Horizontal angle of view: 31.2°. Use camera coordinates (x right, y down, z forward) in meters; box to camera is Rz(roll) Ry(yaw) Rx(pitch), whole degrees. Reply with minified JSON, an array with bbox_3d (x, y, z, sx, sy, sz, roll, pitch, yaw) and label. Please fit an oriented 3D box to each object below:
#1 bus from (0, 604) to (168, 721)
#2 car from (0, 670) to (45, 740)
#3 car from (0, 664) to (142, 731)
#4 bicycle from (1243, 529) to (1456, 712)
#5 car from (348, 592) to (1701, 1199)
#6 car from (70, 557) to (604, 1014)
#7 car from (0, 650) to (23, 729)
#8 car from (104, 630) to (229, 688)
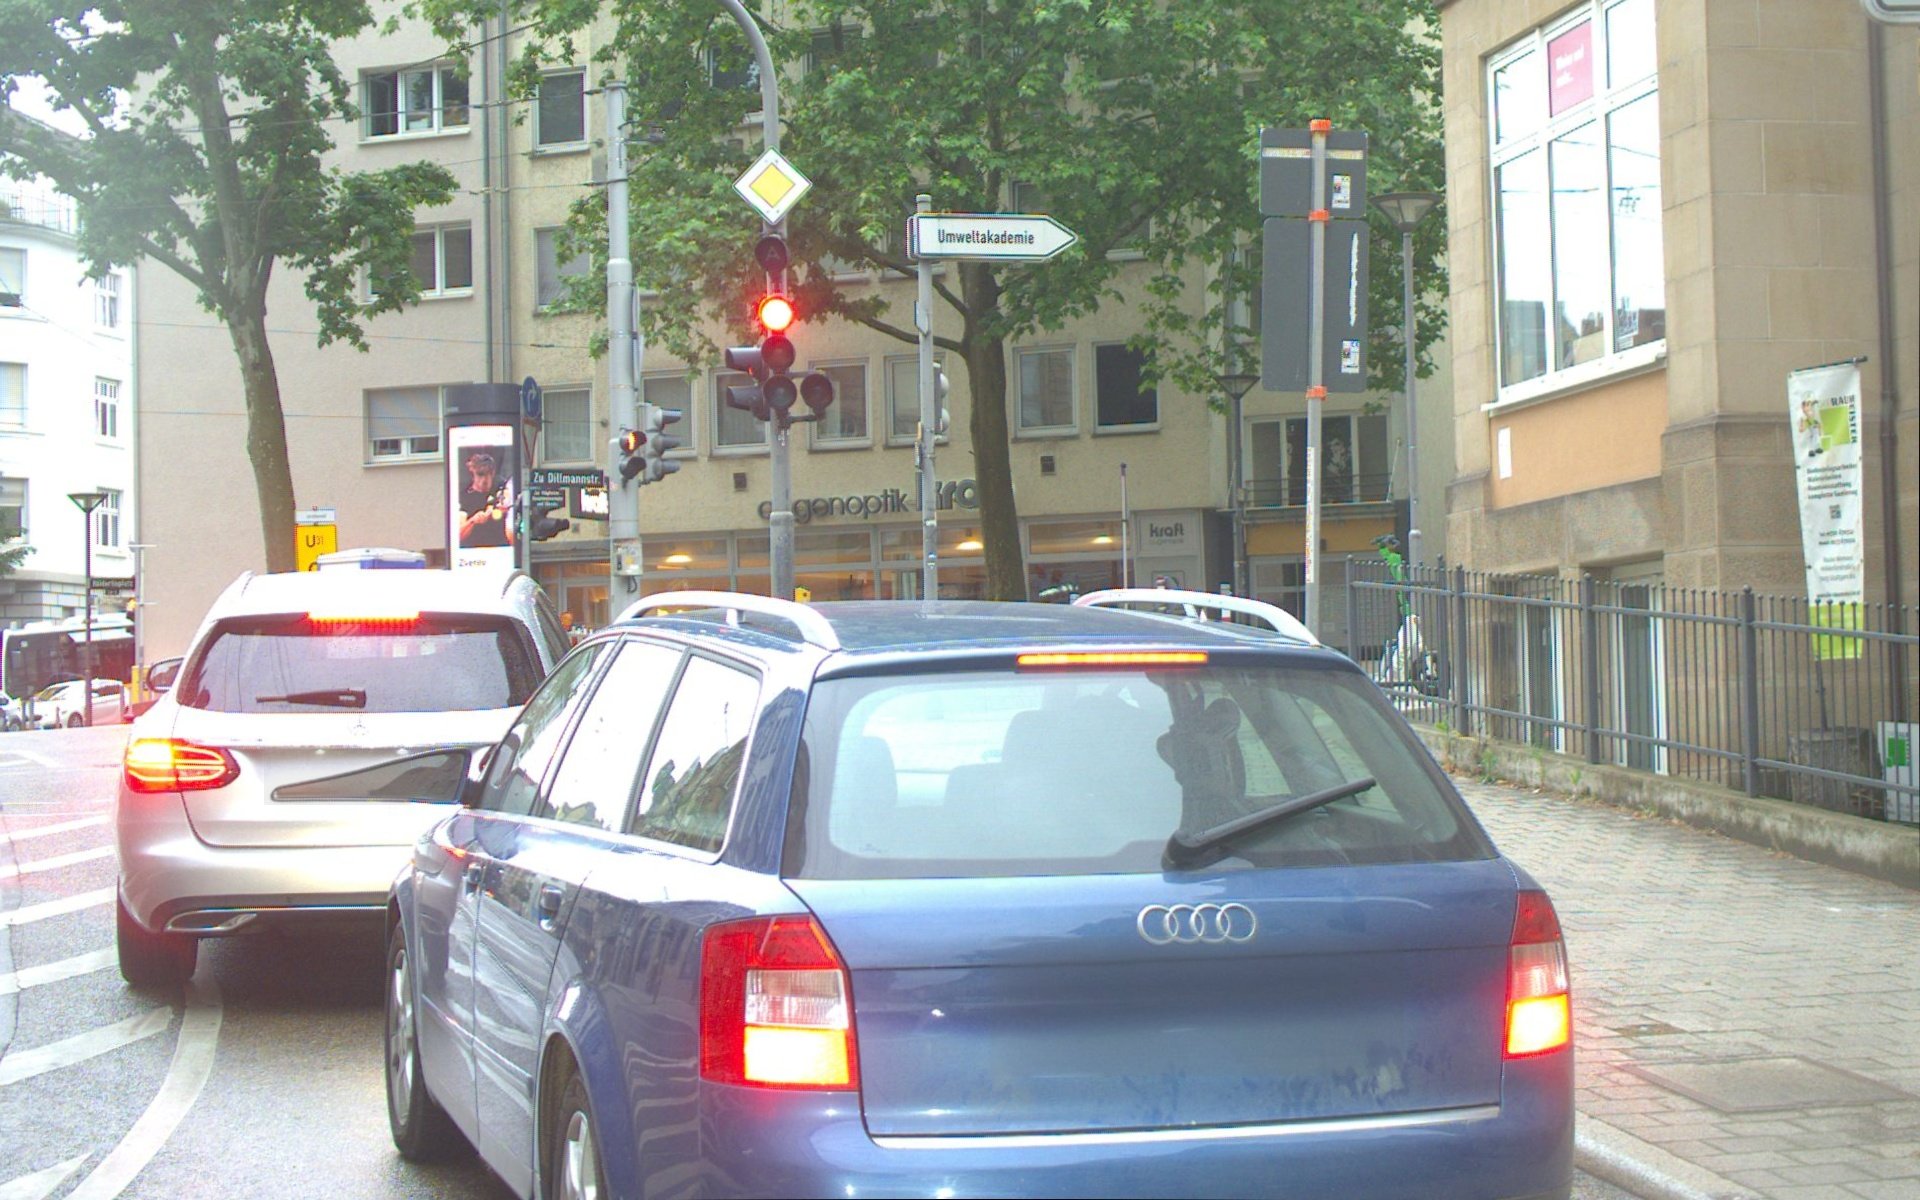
[{"bbox_3d":[-25.135,1.660,94.467,2.856,2.851,8.728,-1,1,14],"label":"bus"},{"bbox_3d":[-24.120,2.611,83.450,1.796,1.609,3.997,-1,1,17],"label":"car"},{"bbox_3d":[-22.884,2.493,88.320,1.796,1.505,3.997,-1,1,17],"label":"car"},{"bbox_3d":[2.682,0.133,23.705,1.300,1.169,0.526,-3,1,-12],"label":"bicycle"},{"bbox_3d":[-0.198,0.722,7.267,1.710,1.410,4.037,0,1,-17],"label":"car"},{"bbox_3d":[-2.256,0.575,12.952,1.710,1.451,3.554,0,1,-8],"label":"car"},{"bbox_3d":[-19.989,1.861,68.013,1.794,1.505,4.000,-4,1,-1],"label":"car"},{"bbox_3d":[-23.383,1.733,101.459,1.796,1.505,3.997,-1,1,17],"label":"car"}]
